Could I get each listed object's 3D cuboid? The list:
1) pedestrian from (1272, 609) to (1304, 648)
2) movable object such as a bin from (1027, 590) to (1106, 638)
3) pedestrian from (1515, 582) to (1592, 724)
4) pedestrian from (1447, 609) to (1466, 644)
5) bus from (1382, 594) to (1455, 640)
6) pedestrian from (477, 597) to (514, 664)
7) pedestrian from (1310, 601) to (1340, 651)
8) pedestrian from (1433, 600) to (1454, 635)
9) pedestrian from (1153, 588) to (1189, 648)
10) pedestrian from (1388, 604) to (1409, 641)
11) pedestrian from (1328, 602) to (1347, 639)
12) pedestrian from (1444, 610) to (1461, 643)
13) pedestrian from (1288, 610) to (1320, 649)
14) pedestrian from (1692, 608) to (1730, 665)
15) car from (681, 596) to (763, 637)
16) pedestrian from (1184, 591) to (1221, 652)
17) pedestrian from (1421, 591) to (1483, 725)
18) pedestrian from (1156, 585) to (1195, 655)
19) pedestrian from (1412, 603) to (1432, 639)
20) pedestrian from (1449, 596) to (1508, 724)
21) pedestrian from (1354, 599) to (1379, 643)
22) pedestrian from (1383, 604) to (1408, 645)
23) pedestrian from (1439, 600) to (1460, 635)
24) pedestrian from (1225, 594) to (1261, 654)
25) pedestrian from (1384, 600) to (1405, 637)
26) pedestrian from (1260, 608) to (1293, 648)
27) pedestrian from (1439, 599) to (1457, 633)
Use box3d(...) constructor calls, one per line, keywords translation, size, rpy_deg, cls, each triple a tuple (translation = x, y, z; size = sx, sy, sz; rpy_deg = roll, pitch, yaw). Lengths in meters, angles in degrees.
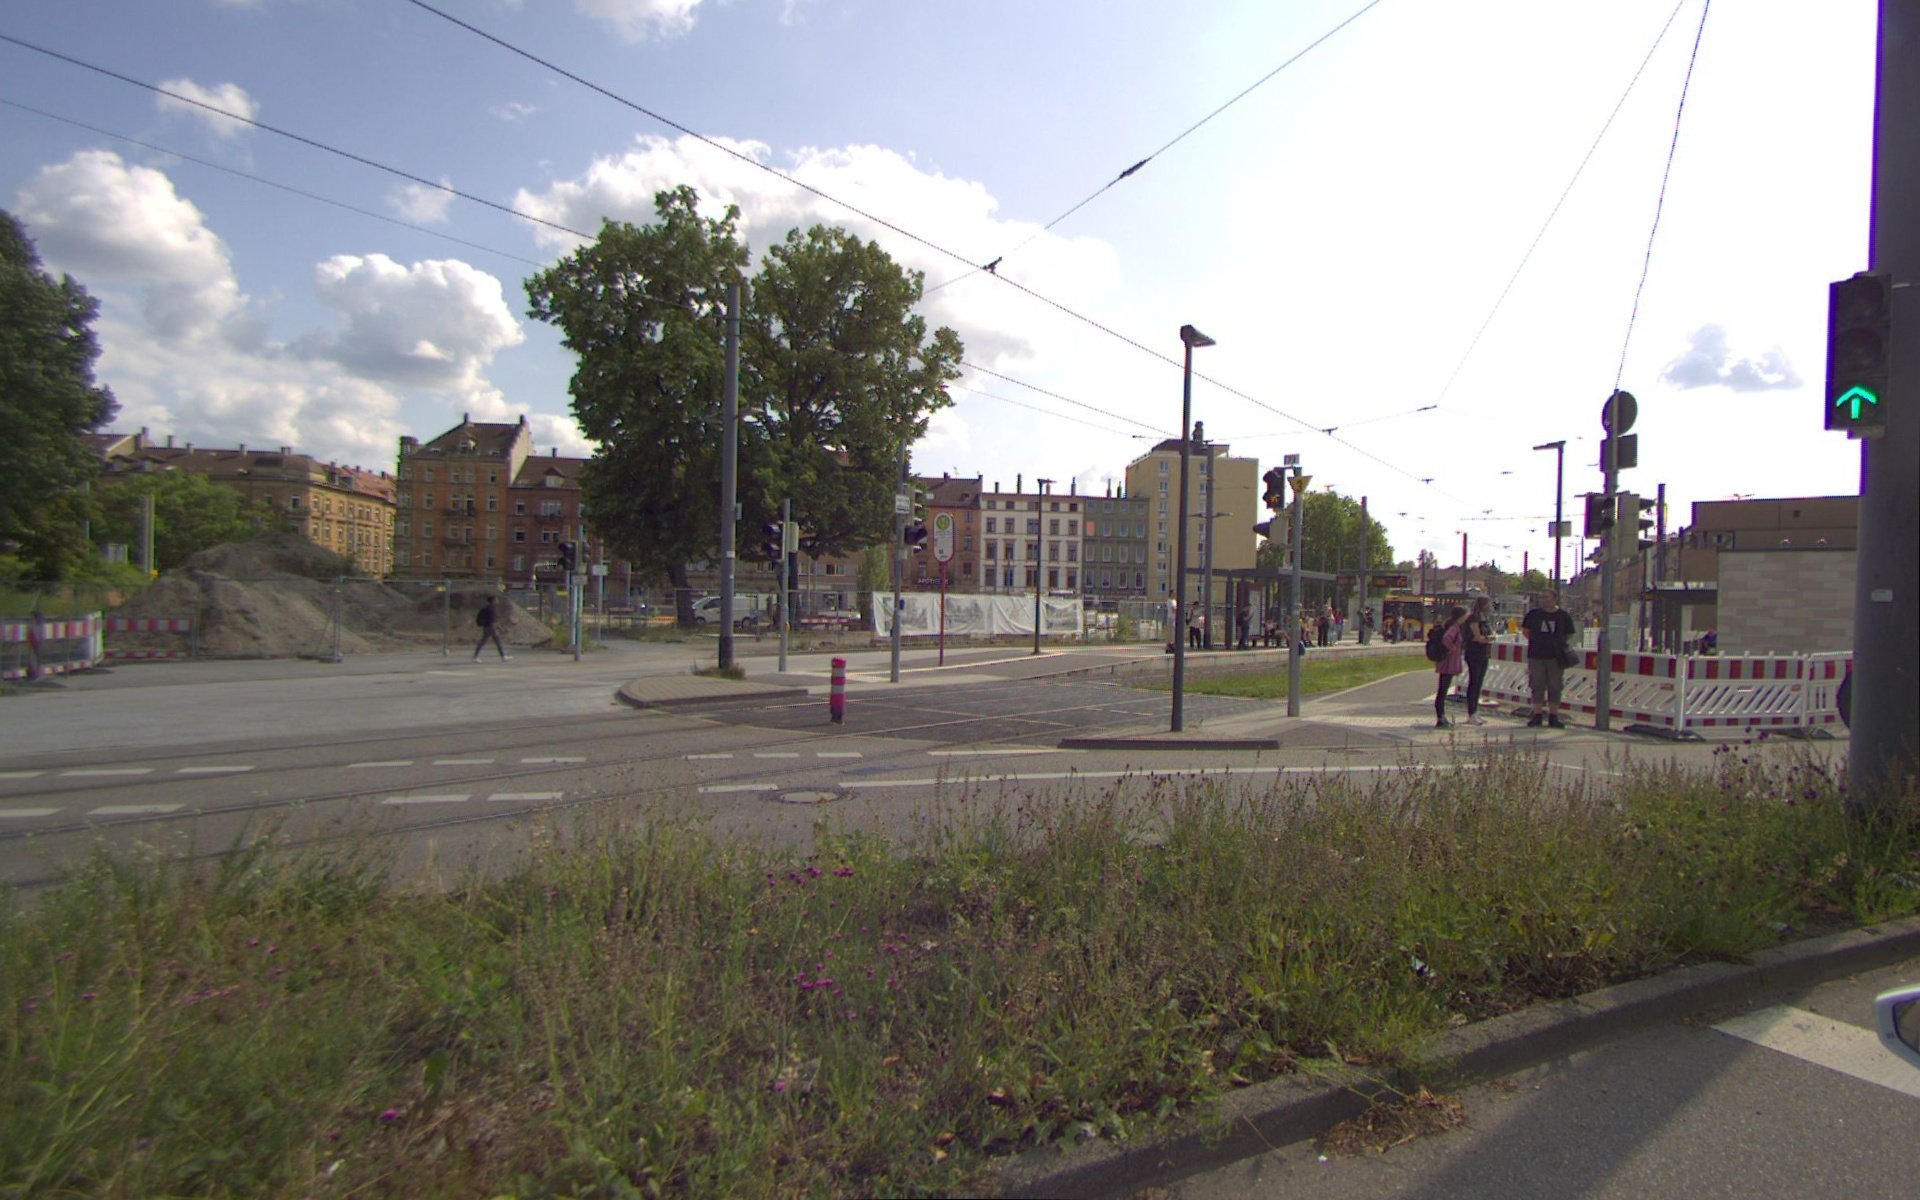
box3d(translation=(12.544, 1.080, 38.449), size=(0.930, 1.450, 0.727), rpy_deg=(2, 0, 41), cls="pedestrian")
box3d(translation=(6.010, 0.785, 56.606), size=(2.611, 2.608, 3.980), rpy_deg=(1, -1, 41), cls="movable object such as a bin")
box3d(translation=(8.236, 0.722, 13.956), size=(0.778, 1.910, 0.613), rpy_deg=(1, 0, 17), cls="pedestrian")
box3d(translation=(29.985, 1.593, 60.677), size=(0.926, 2.040, 0.730), rpy_deg=(2, 0, 28), cls="pedestrian")
box3d(translation=(32.499, 1.185, 70.886), size=(2.392, 3.022, 10.502), rpy_deg=(1, -1, 37), cls="bus")
box3d(translation=(-11.726, 0.771, 25.361), size=(0.778, 1.674, 0.577), rpy_deg=(1, 0, -22), cls="pedestrian")
box3d(translation=(15.372, 1.081, 42.282), size=(0.930, 2.040, 0.727), rpy_deg=(2, 0, 41), cls="pedestrian")
box3d(translation=(28.253, 1.015, 58.722), size=(0.924, 2.040, 0.731), rpy_deg=(2, 0, 13), cls="pedestrian")
box3d(translation=(7.315, 0.609, 34.896), size=(0.930, 2.040, 0.727), rpy_deg=(2, 0, 41), cls="pedestrian")
box3d(translation=(25.442, 1.300, 58.247), size=(0.924, 2.040, 0.731), rpy_deg=(2, 0, 13), cls="pedestrian")
box3d(translation=(21.375, 1.176, 56.829), size=(0.719, 2.040, 0.940), rpy_deg=(2, 0, 35), cls="pedestrian")
box3d(translation=(31.392, 1.664, 64.040), size=(0.926, 2.040, 0.730), rpy_deg=(2, 0, 28), cls="pedestrian")
box3d(translation=(13.396, 1.140, 39.119), size=(0.930, 1.450, 0.727), rpy_deg=(2, 0, 41), cls="pedestrian")
box3d(translation=(25.052, 1.211, 33.521), size=(0.921, 1.814, 1.175), rpy_deg=(2, 0, 34), cls="pedestrian")
box3d(translation=(-14.804, 1.048, 62.589), size=(4.574, 2.450, 2.042), rpy_deg=(1, -1, -35), cls="car")
box3d(translation=(8.362, 0.738, 34.628), size=(0.930, 2.040, 0.727), rpy_deg=(2, 0, 41), cls="pedestrian")
box3d(translation=(6.558, 0.749, 13.384), size=(0.603, 1.729, 0.620), rpy_deg=(1, 0, 38), cls="pedestrian")
box3d(translation=(6.474, 0.599, 30.191), size=(0.805, 2.040, 0.795), rpy_deg=(2, 0, 41), cls="pedestrian")
box3d(translation=(27.165, 1.226, 59.067), size=(0.924, 2.040, 0.731), rpy_deg=(2, 0, 13), cls="pedestrian")
box3d(translation=(7.257, 0.827, 14.071), size=(0.611, 1.759, 0.408), rpy_deg=(1, 0, -17), cls="pedestrian")
box3d(translation=(19.170, 0.981, 47.422), size=(0.924, 2.040, 0.731), rpy_deg=(2, 0, 13), cls="pedestrian")
box3d(translation=(21.927, 1.237, 50.589), size=(0.924, 2.040, 0.731), rpy_deg=(2, 0, 9), cls="pedestrian")
box3d(translation=(28.925, 1.044, 59.337), size=(0.924, 2.040, 0.731), rpy_deg=(2, 0, 13), cls="pedestrian")
box3d(translation=(9.858, 0.832, 35.013), size=(0.930, 2.040, 0.727), rpy_deg=(2, 0, 41), cls="pedestrian")
box3d(translation=(24.837, 1.045, 57.422), size=(0.924, 2.040, 0.731), rpy_deg=(2, 0, 13), cls="pedestrian")
box3d(translation=(11.921, 1.041, 37.831), size=(0.930, 1.450, 0.727), rpy_deg=(2, 0, 41), cls="pedestrian")
box3d(translation=(30.198, 0.986, 62.187), size=(0.926, 2.040, 0.730), rpy_deg=(2, 0, 28), cls="pedestrian")
